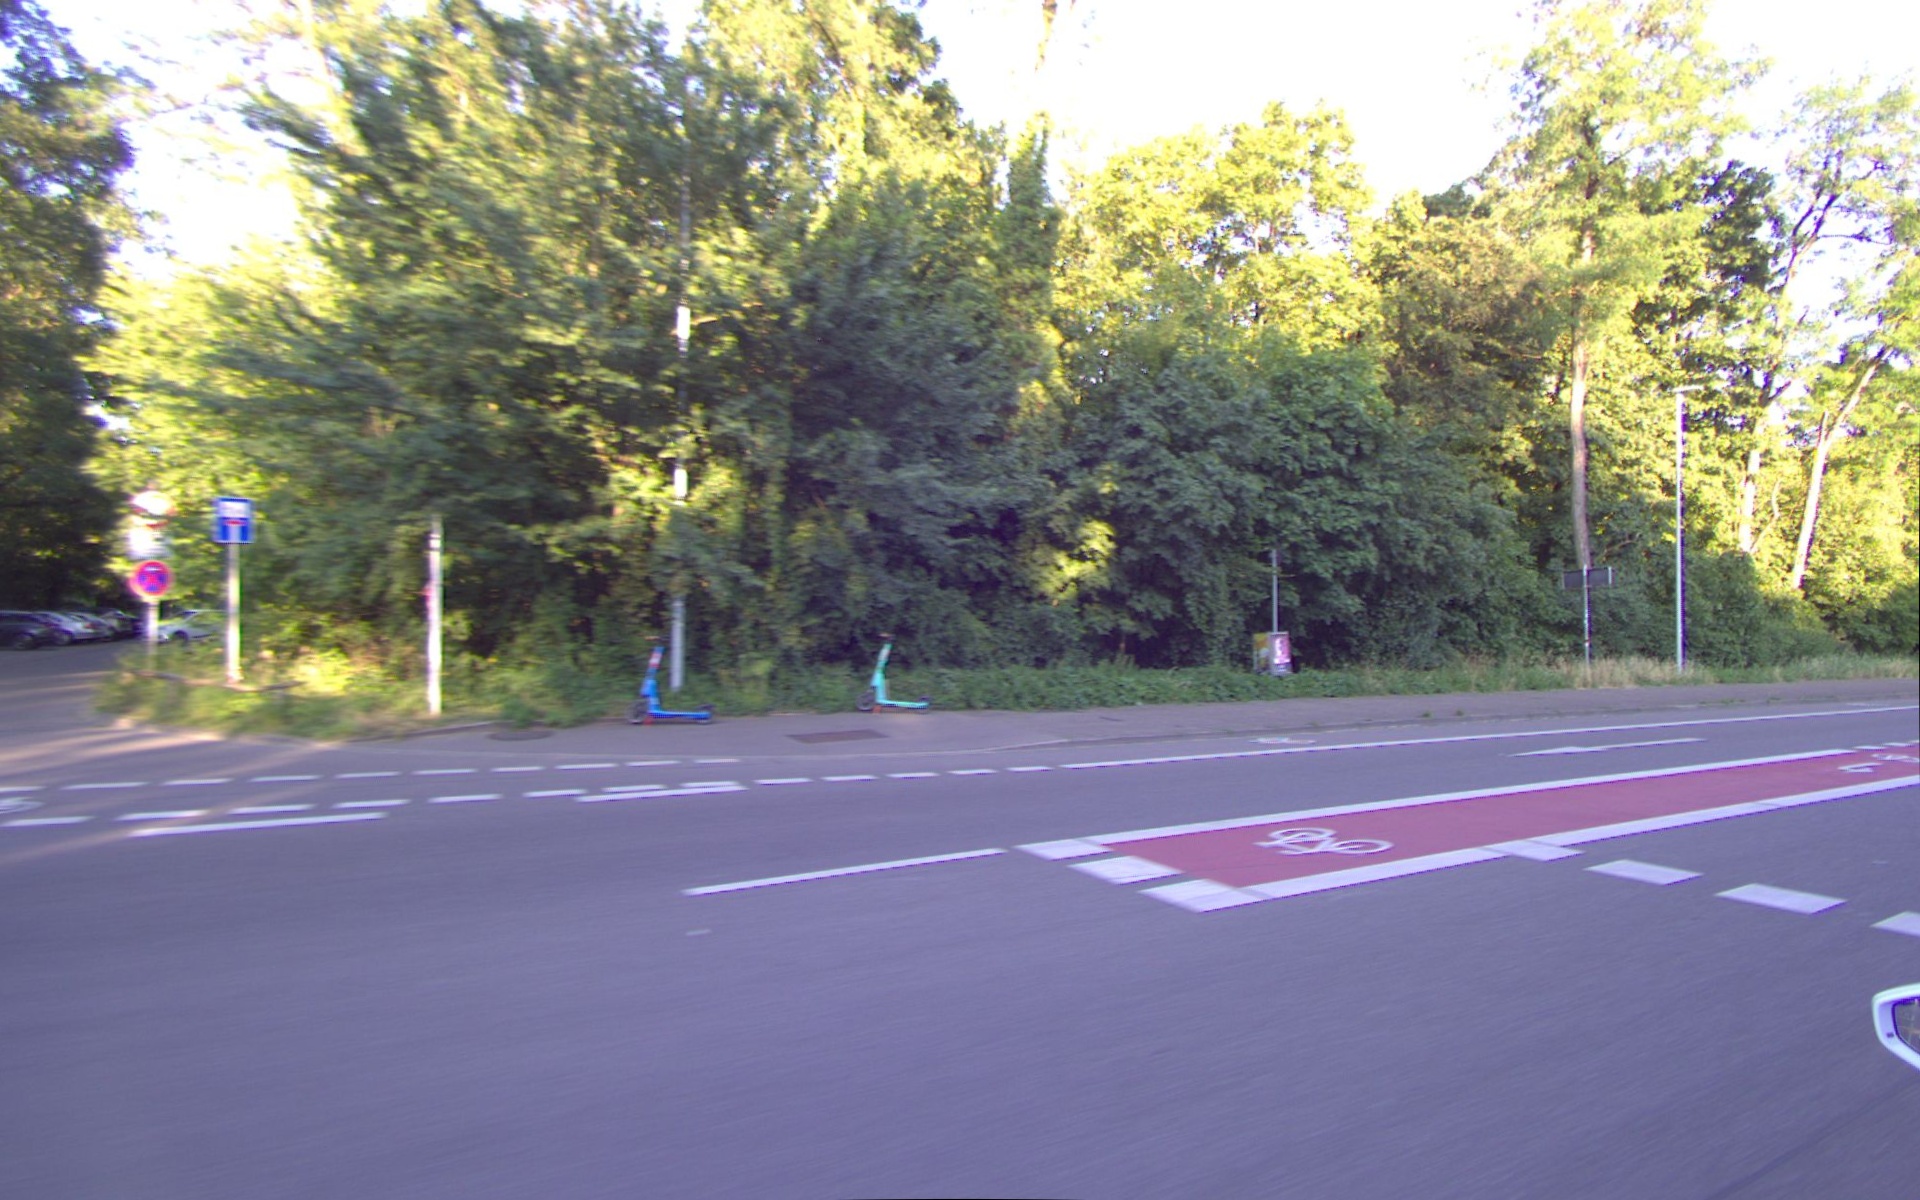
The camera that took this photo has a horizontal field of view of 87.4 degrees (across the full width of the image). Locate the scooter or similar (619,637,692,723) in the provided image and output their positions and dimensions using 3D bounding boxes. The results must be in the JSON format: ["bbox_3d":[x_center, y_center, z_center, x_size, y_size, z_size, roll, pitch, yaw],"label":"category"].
[{"bbox_3d":[-4.121,1.068,13.624,0.862,1.124,0.362,1,-1,12],"label":"scooter or similar"}]

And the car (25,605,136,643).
[{"bbox_3d":[-41.498,1.135,47.485,3.629,1.708,1.736,1,-1,-30],"label":"car"}]

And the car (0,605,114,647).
[{"bbox_3d":[-39.002,1.123,43.239,3.629,1.708,1.736,1,-1,-30],"label":"car"}]

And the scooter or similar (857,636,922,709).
[{"bbox_3d":[-1.103,1.119,15.663,0.885,1.082,0.494,0,-1,35],"label":"scooter or similar"}]

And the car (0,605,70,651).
[{"bbox_3d":[-36.774,1.057,38.506,3.629,1.708,1.736,1,-1,-30],"label":"car"}]

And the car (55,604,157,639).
[{"bbox_3d":[-43.231,1.072,50.937,3.629,1.708,1.736,1,-1,-30],"label":"car"}]

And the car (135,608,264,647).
[{"bbox_3d":[-33.121,1.205,43.886,1.770,1.608,4.125,0,-1,26],"label":"car"}]
